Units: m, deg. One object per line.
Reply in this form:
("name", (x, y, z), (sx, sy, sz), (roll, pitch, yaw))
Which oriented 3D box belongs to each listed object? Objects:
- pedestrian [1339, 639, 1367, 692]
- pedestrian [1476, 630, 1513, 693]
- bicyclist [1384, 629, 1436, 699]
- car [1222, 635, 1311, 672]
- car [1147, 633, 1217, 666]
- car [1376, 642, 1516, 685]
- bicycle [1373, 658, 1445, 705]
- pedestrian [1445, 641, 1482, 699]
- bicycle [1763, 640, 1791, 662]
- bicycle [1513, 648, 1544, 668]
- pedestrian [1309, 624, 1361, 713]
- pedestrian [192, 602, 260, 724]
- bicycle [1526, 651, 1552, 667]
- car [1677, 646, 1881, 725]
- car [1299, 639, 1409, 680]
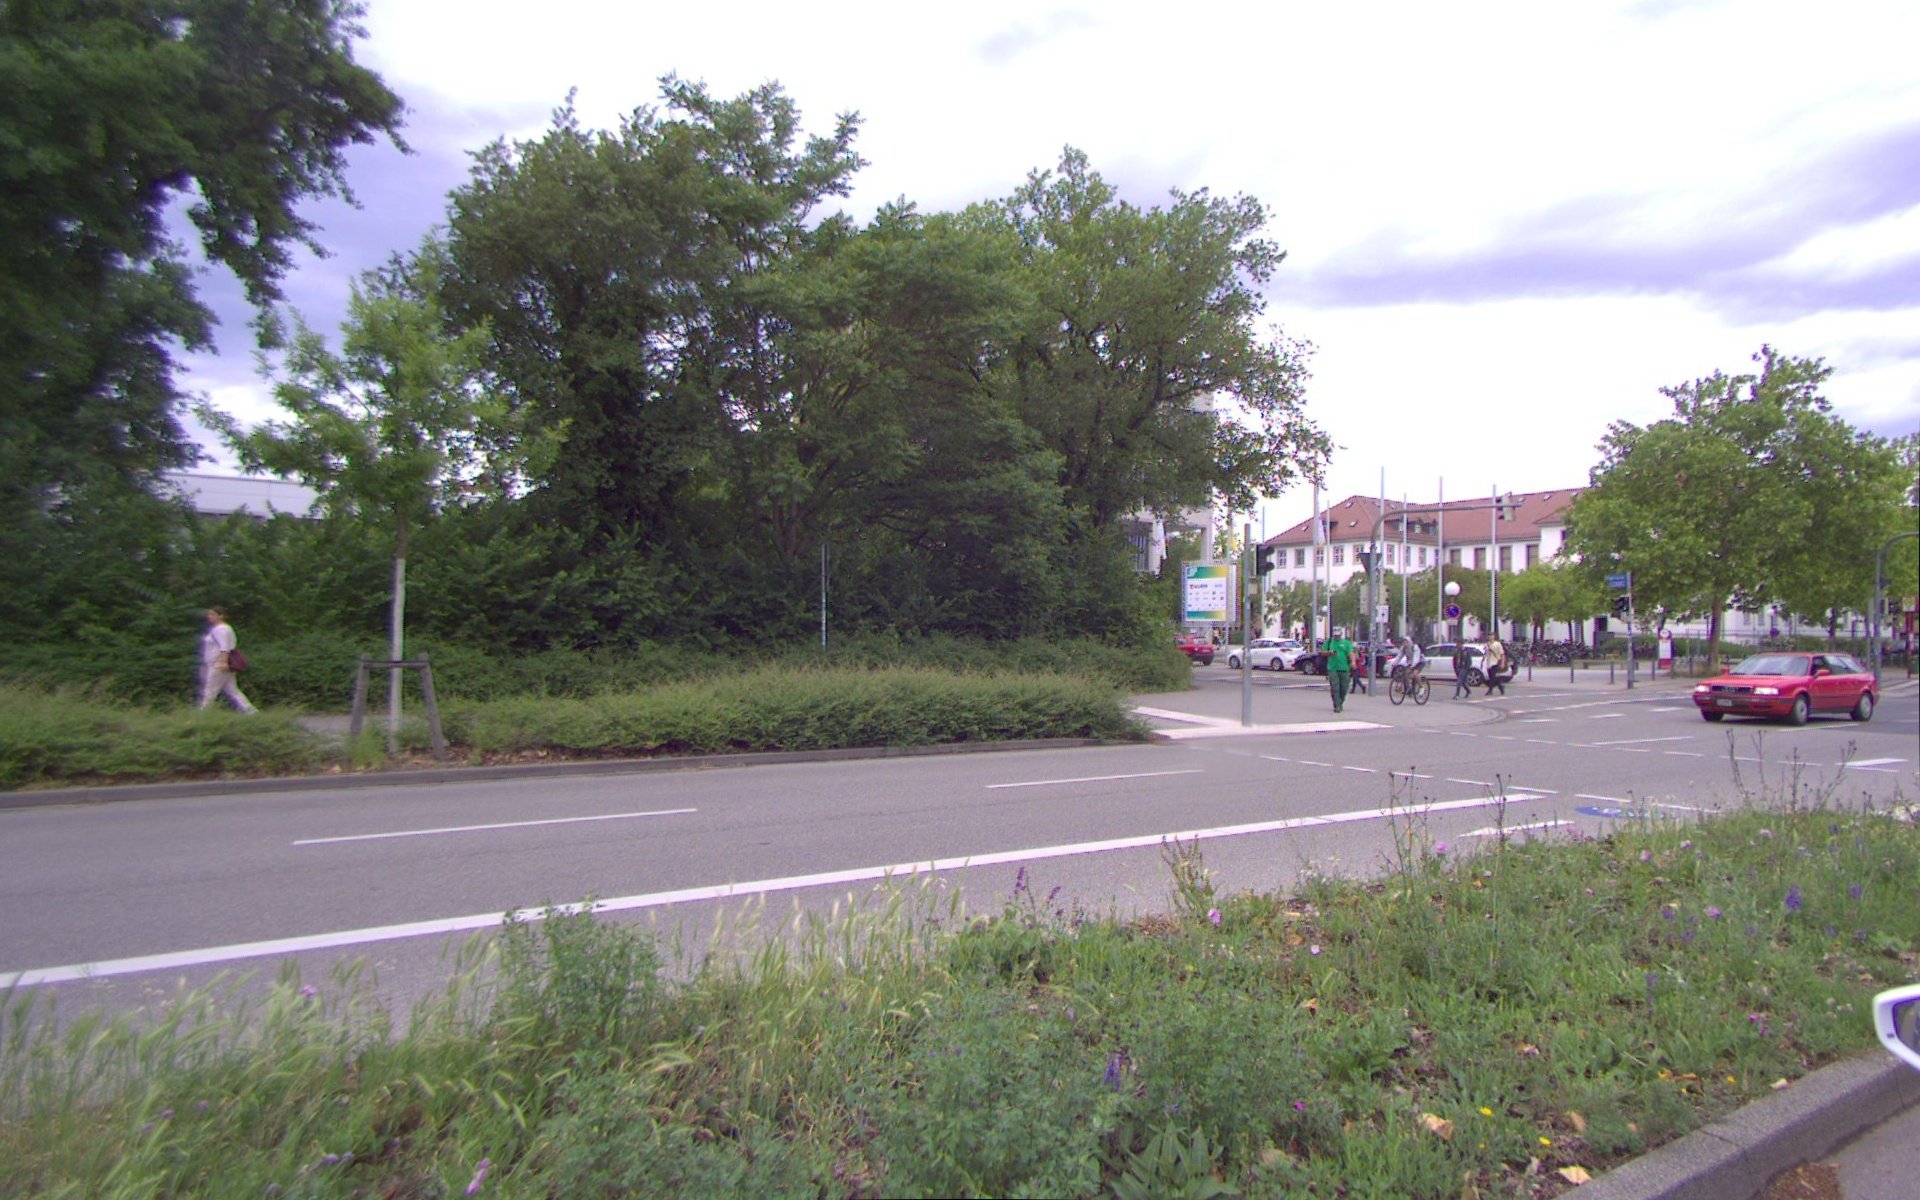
("pedestrian", (11.998, 2.012, 30.666), (0.563, 1.545, 0.846), (0, -6, 36))
("pedestrian", (15.608, 1.804, 29.334), (0.829, 1.761, 0.828), (0, -6, 36))
("bicyclist", (11.000, 1.571, 24.559), (0.947, 1.657, 0.665), (2, -1, -22))
("car", (14.446, 2.486, 47.486), (1.667, 1.560, 3.857), (-1, 0, -32))
("car", (11.373, 2.528, 51.682), (1.547, 1.499, 3.322), (1, 0, -36))
("car", (17.269, 2.231, 35.864), (1.696, 1.450, 4.180), (1, -3, -39))
("bicycle", (10.966, 1.984, 24.547), (1.596, 1.076, 0.665), (2, -1, -22))
("pedestrian", (14.104, 1.966, 28.136), (0.776, 1.578, 0.700), (2, -4, 16))
("bicycle", (40.922, 2.526, 50.309), (2.025, 1.074, 0.603), (1, -3, -37))
("bicycle", (31.935, 3.251, 56.440), (1.385, 1.066, 0.586), (-3, -3, 41))
("pedestrian", (7.889, 1.417, 21.172), (0.924, 1.782, 0.876), (2, -1, 16))
("pedestrian", (-10.270, 0.874, 14.081), (0.663, 1.657, 0.697), (1, -3, -30))
("bicycle", (32.666, 3.321, 56.685), (1.191, 0.892, 0.263), (-2, -3, 38))
("car", (16.824, 1.689, 20.603), (4.240, 1.437, 1.707), (1, -2, -28))
("car", (16.638, 2.494, 42.505), (4.006, 1.472, 1.613), (-2, 3, 43))
